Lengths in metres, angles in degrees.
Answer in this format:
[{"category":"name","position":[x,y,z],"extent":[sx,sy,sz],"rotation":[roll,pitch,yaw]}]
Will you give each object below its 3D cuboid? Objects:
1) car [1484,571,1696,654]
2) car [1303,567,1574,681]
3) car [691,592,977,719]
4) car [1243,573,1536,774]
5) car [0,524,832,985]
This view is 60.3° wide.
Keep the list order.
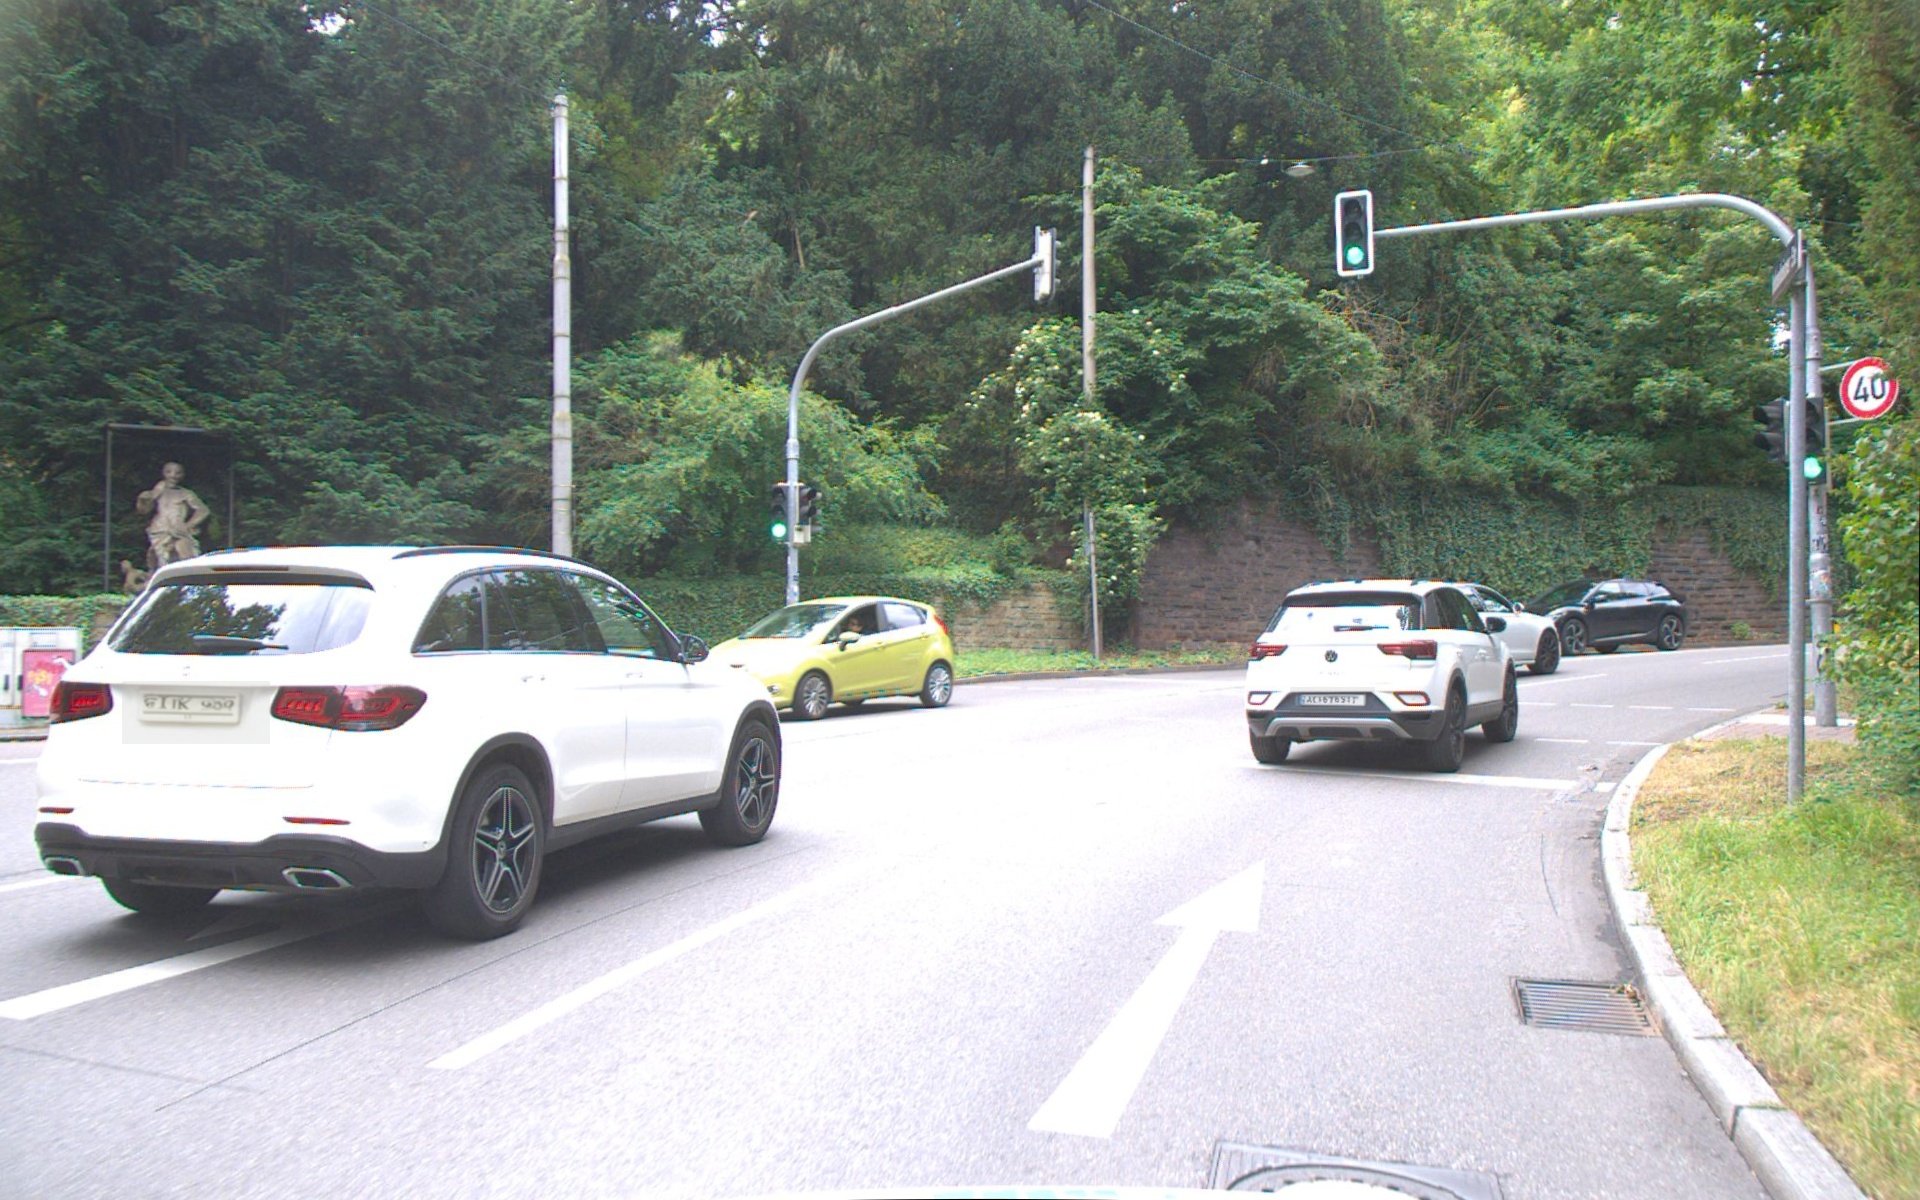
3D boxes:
[{"category":"car","position":[12.981,0.243,34.034],"extent":[4.334,1.570,1.621],"rotation":[-1,-1,-29]},{"category":"car","position":[7.360,0.298,25.181],"extent":[4.739,1.561,1.841],"rotation":[-1,1,-44]},{"category":"car","position":[-1.502,0.632,21.002],"extent":[1.528,1.448,3.886],"rotation":[0,0,35]},{"category":"car","position":[4.103,0.559,15.281],"extent":[1.720,1.580,4.333],"rotation":[-1,0,27]},{"category":"car","position":[-2.315,0.538,8.487],"extent":[1.819,1.633,4.674],"rotation":[2,1,15]}]
